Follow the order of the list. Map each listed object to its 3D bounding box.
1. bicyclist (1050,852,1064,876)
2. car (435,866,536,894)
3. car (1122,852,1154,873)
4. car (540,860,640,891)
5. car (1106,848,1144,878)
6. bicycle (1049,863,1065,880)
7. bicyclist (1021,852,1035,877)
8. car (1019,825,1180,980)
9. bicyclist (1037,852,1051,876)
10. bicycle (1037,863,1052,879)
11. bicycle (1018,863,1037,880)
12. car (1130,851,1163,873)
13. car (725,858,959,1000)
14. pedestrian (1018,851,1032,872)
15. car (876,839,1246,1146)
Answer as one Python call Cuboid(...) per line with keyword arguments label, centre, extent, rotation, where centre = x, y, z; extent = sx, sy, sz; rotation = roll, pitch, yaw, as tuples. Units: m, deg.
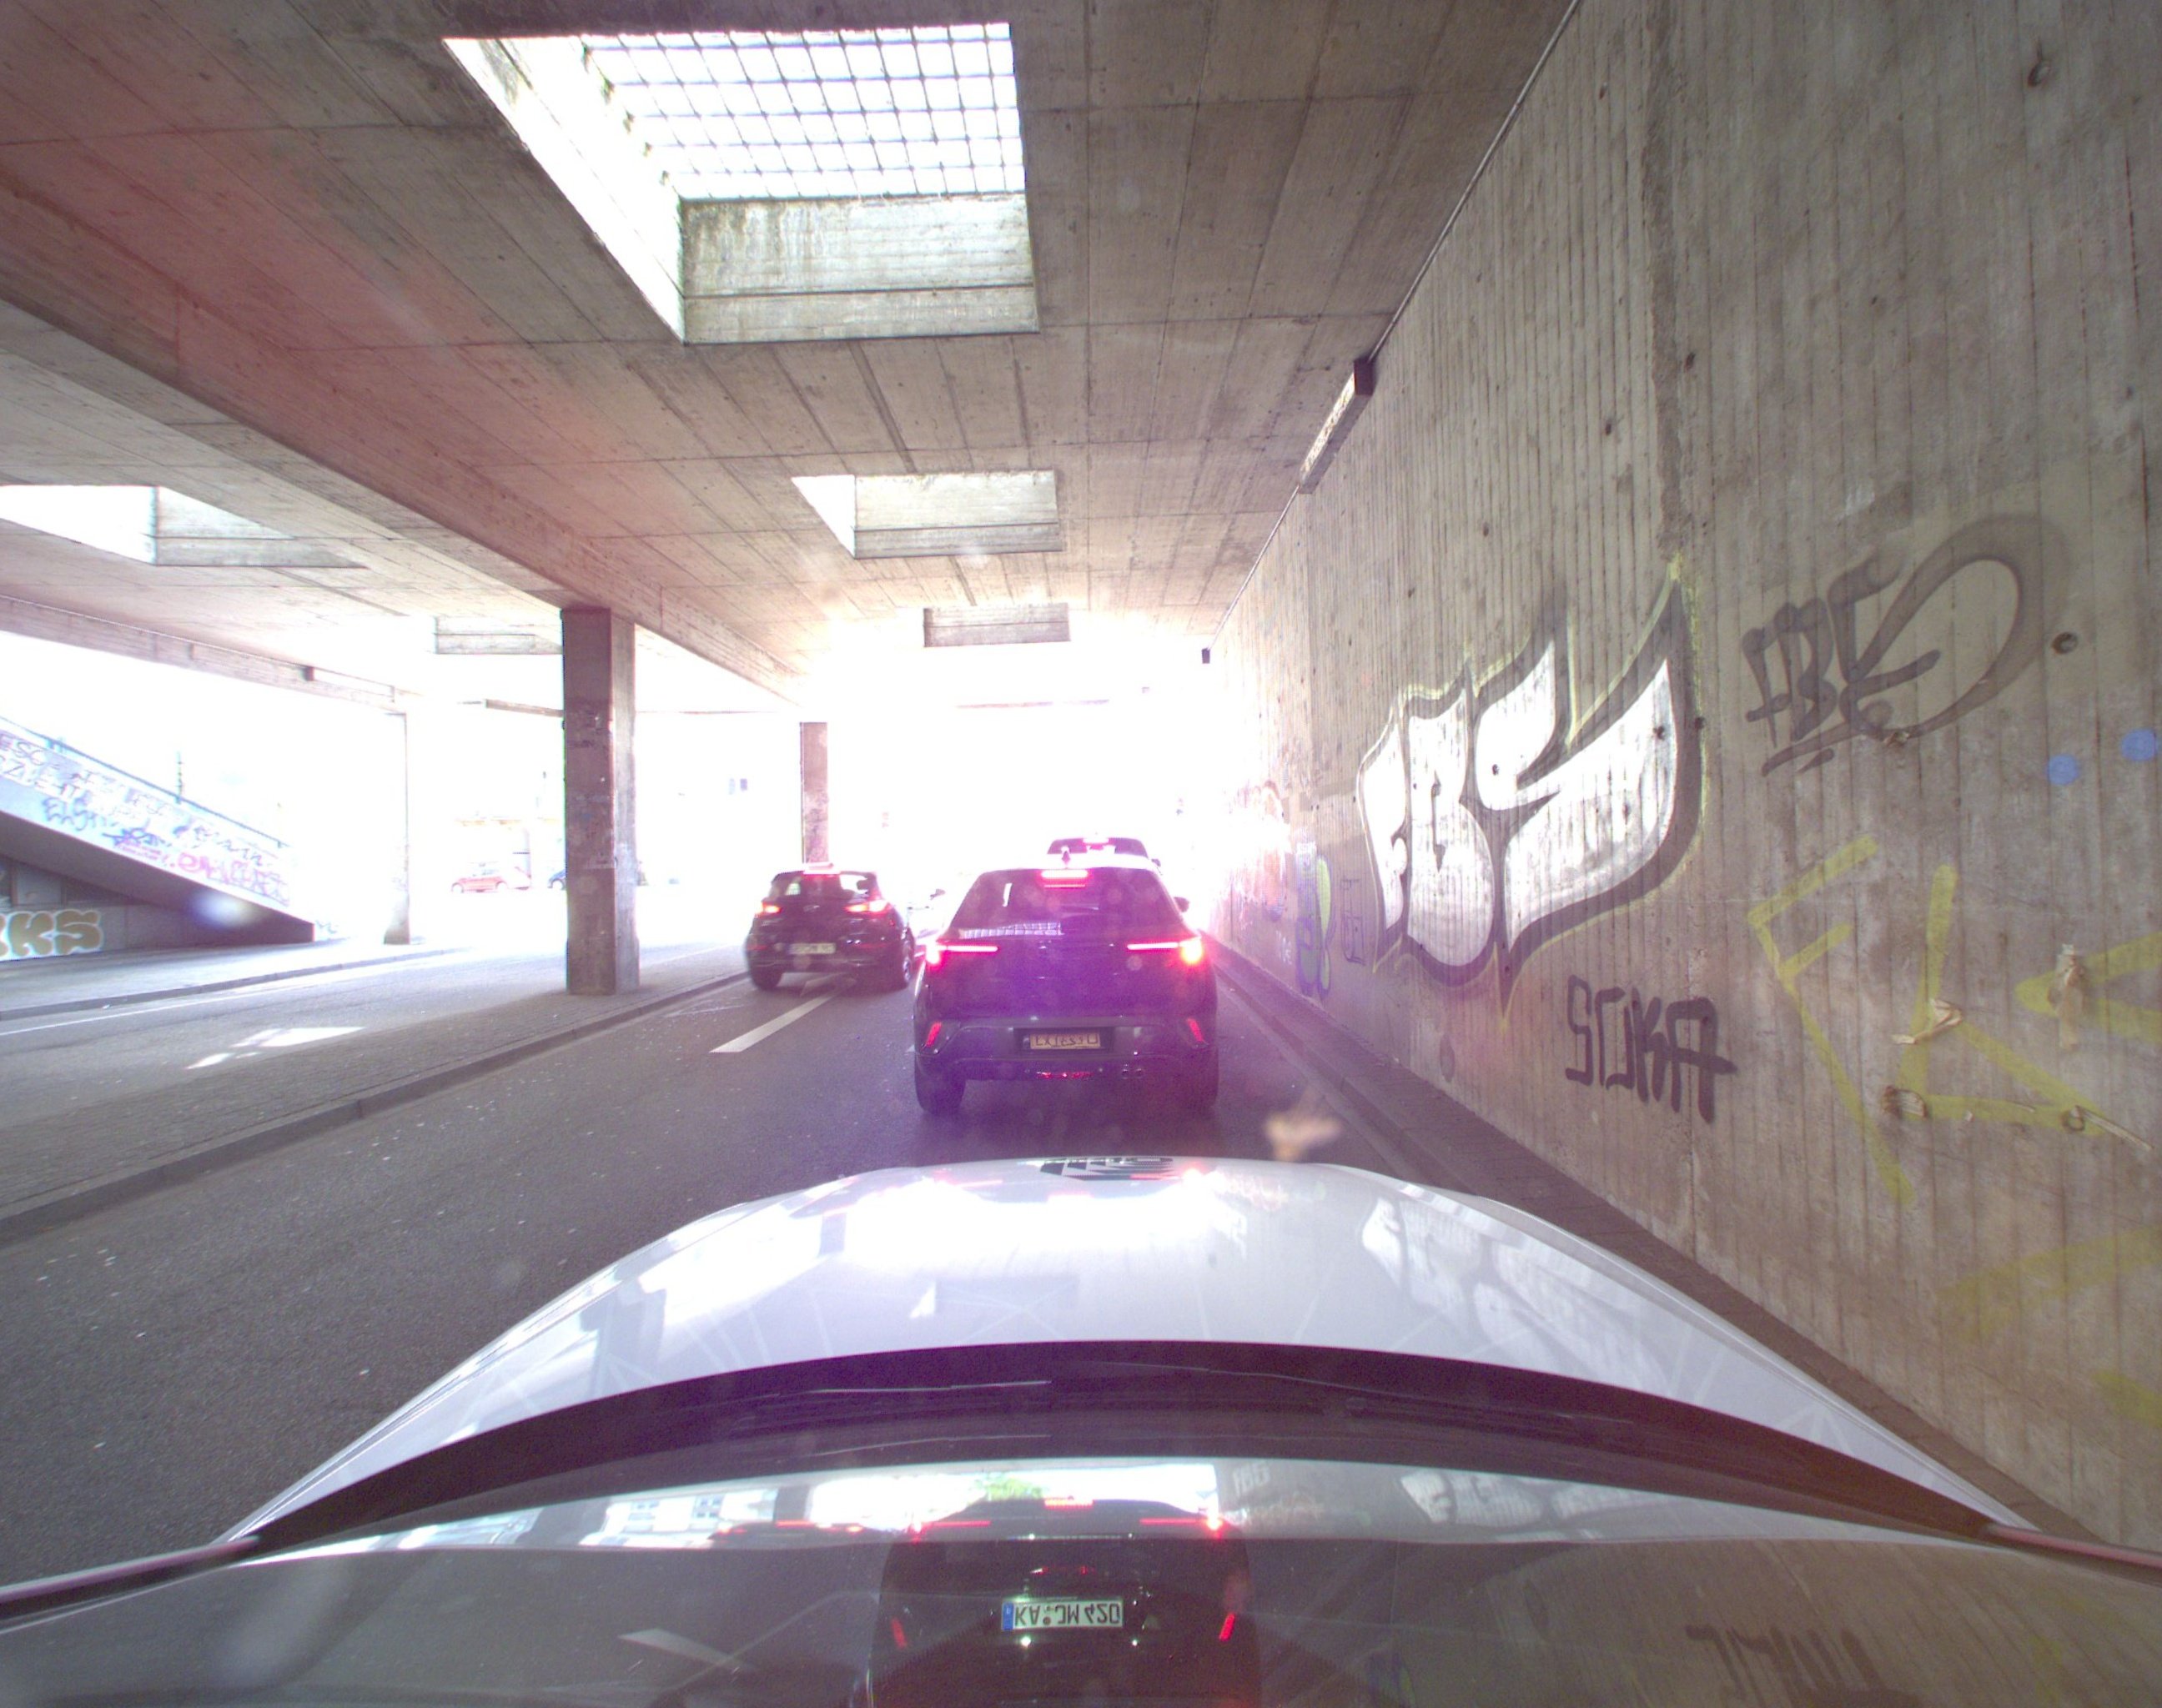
Cuboid(label="bicyclist", centre=(-1.562, 0.645, 52.320), extent=(0.724, 1.581, 0.817), rotation=(0, -1, 11))
Cuboid(label="car", centre=(-33.014, 1.441, 45.240), extent=(3.970, 1.374, 2.192), rotation=(-1, 0, 3))
Cuboid(label="car", centre=(4.402, 0.657, 62.258), extent=(1.955, 1.497, 3.908), rotation=(-2, -2, 11))
Cuboid(label="car", centre=(-27.210, 1.158, 45.242), extent=(4.114, 1.550, 2.268), rotation=(-1, 0, 1))
Cuboid(label="car", centre=(2.407, 0.513, 44.273), extent=(1.959, 1.497, 3.900), rotation=(-1, -2, 4))
Cuboid(label="bicycle", centre=(-1.543, 1.103, 52.321), extent=(0.621, 1.067, 1.694), rotation=(0, -1, 11))
Cuboid(label="bicyclist", centre=(-3.381, 0.652, 51.784), extent=(0.724, 1.581, 0.817), rotation=(0, -1, 11))
Cuboid(label="car", centre=(0.288, 0.600, 12.014), extent=(1.938, 1.860, 3.966), rotation=(-2, 0, 2))
Cuboid(label="bicyclist", centre=(-2.462, 0.673, 54.628), extent=(0.724, 1.581, 0.817), rotation=(0, -1, 11))
Cuboid(label="bicycle", centre=(-2.433, 1.115, 54.785), extent=(0.621, 1.067, 1.694), rotation=(0, -1, 11))
Cuboid(label="bicycle", centre=(-3.391, 1.110, 51.749), extent=(0.727, 1.067, 1.694), rotation=(0, -1, 11))
Cuboid(label="car", centre=(5.583, 0.704, 69.044), extent=(2.206, 1.719, 4.474), rotation=(-2, -2, 12))
Cuboid(label="car", centre=(-2.810, 0.792, 10.603), extent=(1.773, 1.447, 4.178), rotation=(0, 0, 1))
Cuboid(label="pedestrian", centre=(-5.482, 0.710, 79.783), extent=(0.986, 2.013, 1.091), rotation=(-2, 0, 10))
Cuboid(label="car", centre=(-0.043, 0.717, 6.194), extent=(1.875, 1.538, 3.966), rotation=(-2, 0, 2))
